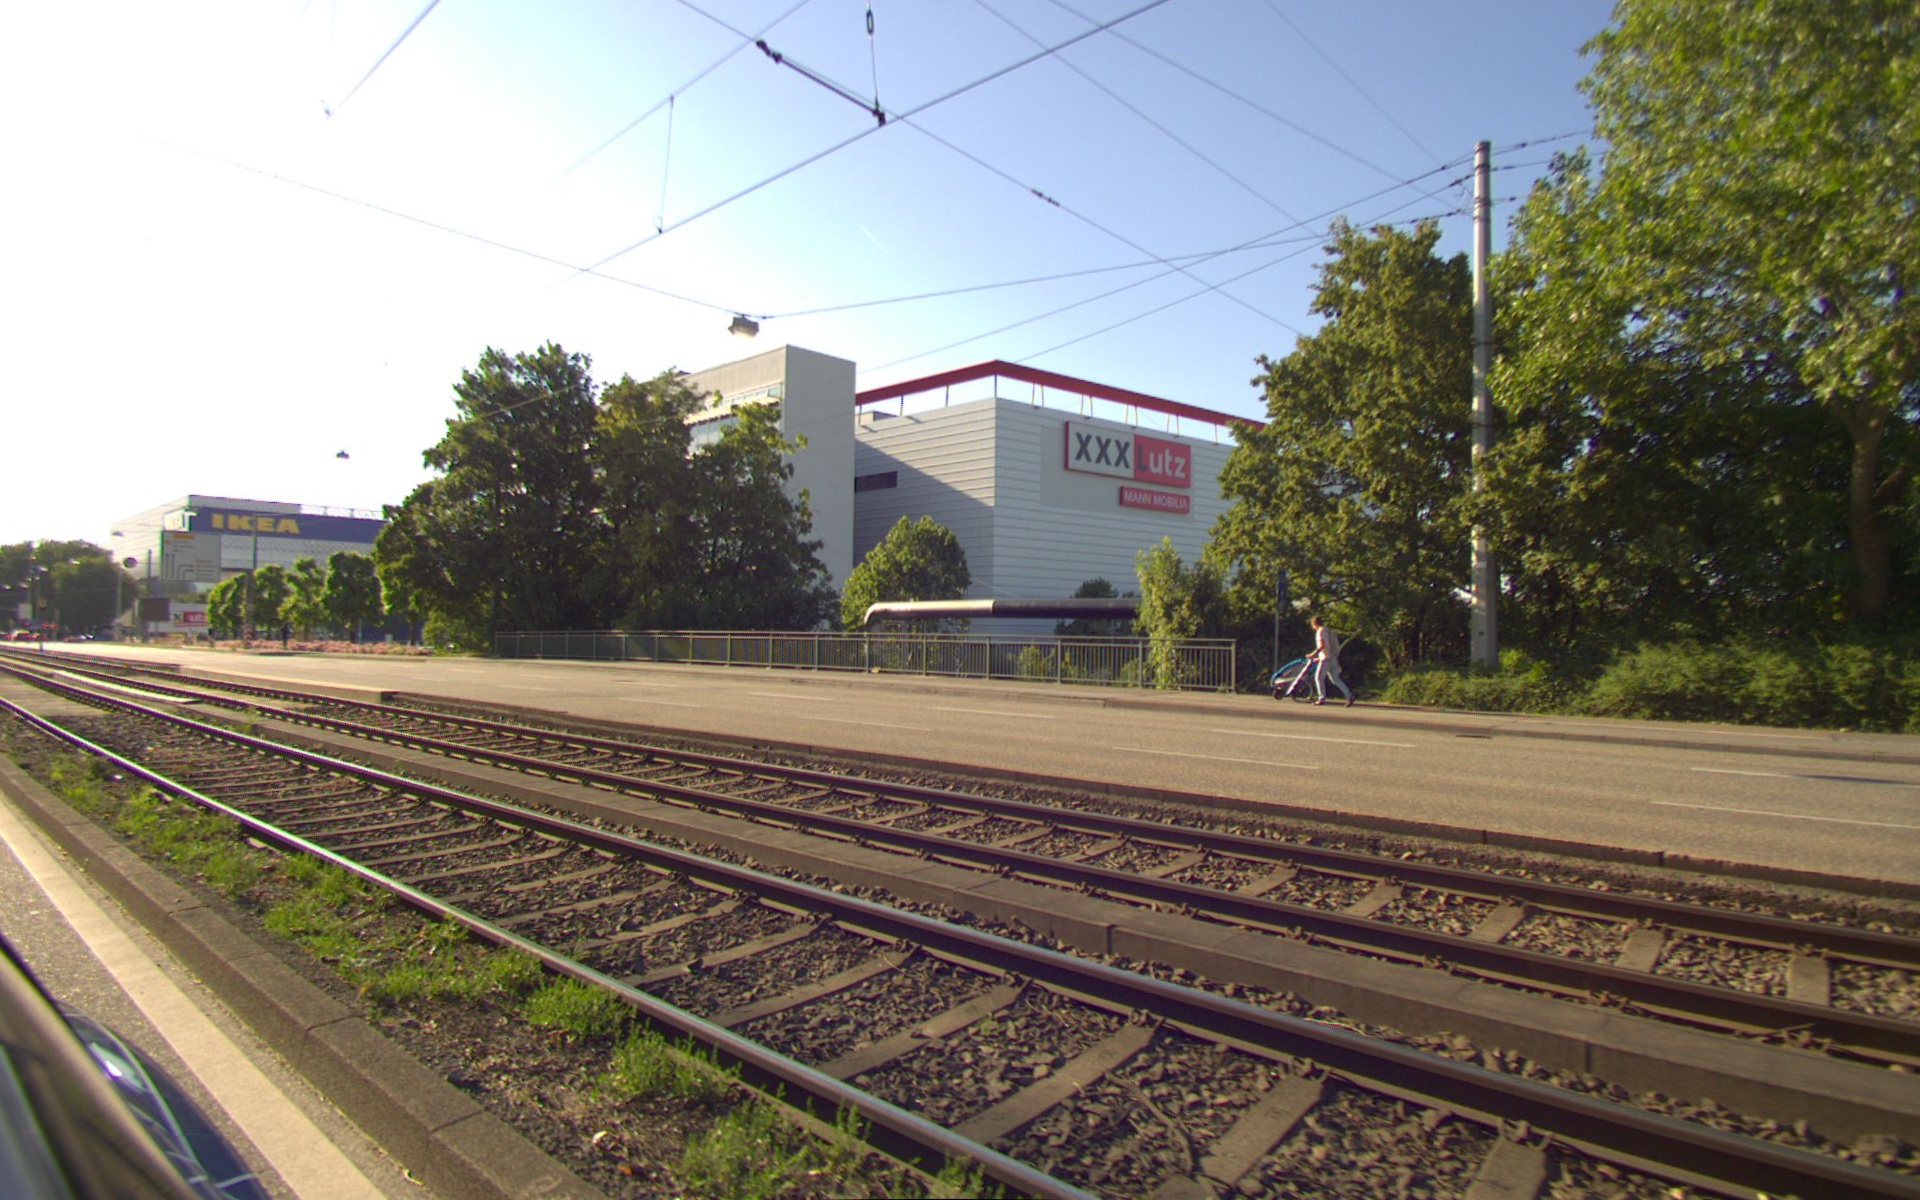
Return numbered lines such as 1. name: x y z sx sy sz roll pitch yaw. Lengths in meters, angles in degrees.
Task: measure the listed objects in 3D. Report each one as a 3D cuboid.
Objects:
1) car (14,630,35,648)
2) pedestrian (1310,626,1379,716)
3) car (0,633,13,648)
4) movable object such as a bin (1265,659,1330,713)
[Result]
1. car: -123.499 5.094 133.580 1.970 2.312 4.004 -1 -1 -43
2. pedestrian: 7.378 1.335 19.452 1.083 1.660 0.606 -1 0 41
3. car: -147.524 6.245 156.144 1.970 2.312 4.004 -1 -1 -43
4. movable object such as a bin: 6.702 1.688 20.110 1.083 0.973 0.606 -1 0 41
